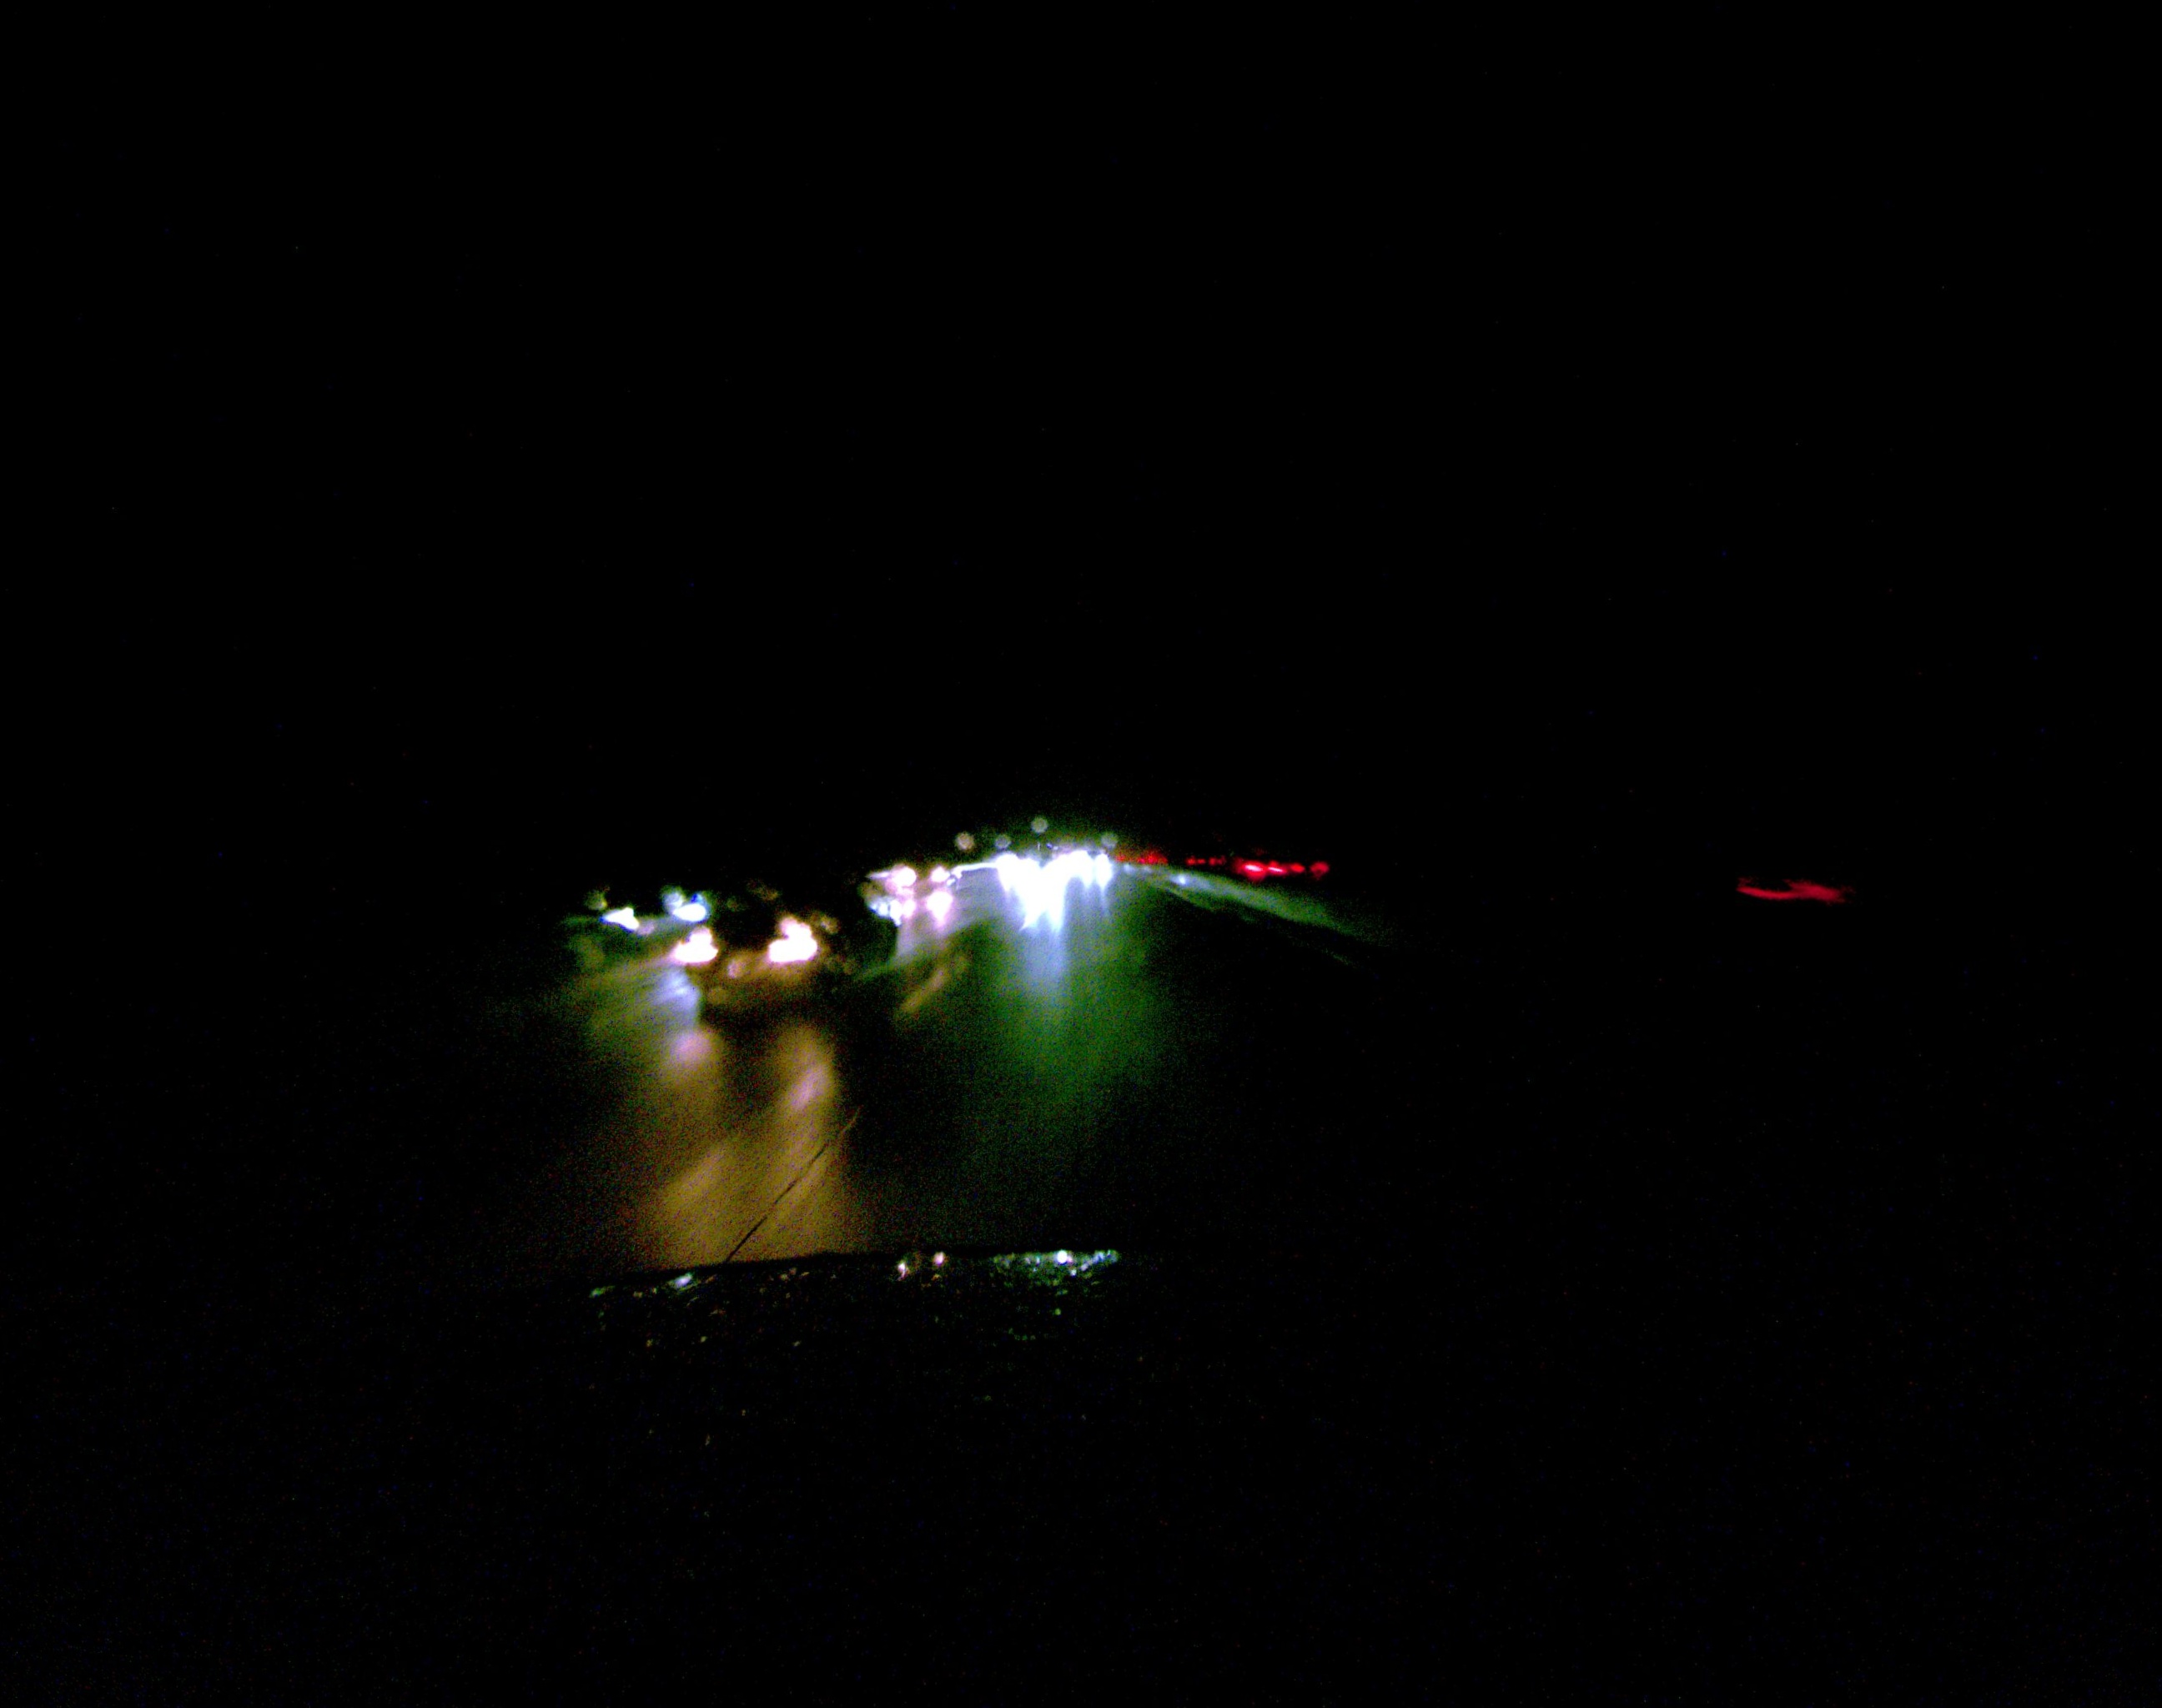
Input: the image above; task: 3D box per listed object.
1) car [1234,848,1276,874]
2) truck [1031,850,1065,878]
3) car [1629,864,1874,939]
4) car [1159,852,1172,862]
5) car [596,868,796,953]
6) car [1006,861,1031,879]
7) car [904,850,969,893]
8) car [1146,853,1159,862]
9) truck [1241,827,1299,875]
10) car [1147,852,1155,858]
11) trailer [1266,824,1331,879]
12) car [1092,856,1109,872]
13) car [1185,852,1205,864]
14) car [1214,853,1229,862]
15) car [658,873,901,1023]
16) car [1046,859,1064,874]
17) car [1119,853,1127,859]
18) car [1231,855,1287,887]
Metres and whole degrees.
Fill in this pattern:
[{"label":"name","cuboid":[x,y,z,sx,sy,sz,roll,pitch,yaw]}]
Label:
[{"label":"car","cuboid":[13.394,0.521,58.779,2.067,1.813,4.880,-2,1,1]},{"label":"truck","cuboid":[-2.092,0.605,49.739,1.848,1.686,4.854,-2,1,1]},{"label":"car","cuboid":[16.973,1.113,19.686,1.998,1.492,4.965,-2,1,1]},{"label":"car","cuboid":[14.964,0.506,134.701,1.866,1.572,4.513,-2,1,1]},{"label":"car","cuboid":[-8.245,1.113,16.925,1.899,1.477,4.961,-2,0,0]},{"label":"car","cuboid":[-5.716,1.480,70.338,1.747,1.470,5.366,-2,0,1]},{"label":"car","cuboid":[-7.061,0.802,37.745,2.051,1.962,5.407,0,0,2]},{"label":"car","cuboid":[10.918,0.590,116.314,1.758,1.354,4.116,0,0,2]},{"label":"truck","cuboid":[18.231,-0.351,74.076,2.938,4.302,11.434,1,1,1]},{"label":"car","cuboid":[18.577,0.304,201.661,1.877,1.607,4.501,0,0,0]},{"label":"trailer","cuboid":[18.080,-0.252,63.849,2.947,4.252,8.935,1,1,1]},{"label":"car","cuboid":[1.997,0.995,77.172,1.619,1.452,3.767,-2,1,2]},{"label":"car","cuboid":[13.782,0.484,92.328,1.759,1.516,4.115,0,0,0]},{"label":"car","cuboid":[26.953,0.633,145.633,1.868,1.462,4.352,-2,1,-3]},{"label":"car","cuboid":[-3.597,1.034,9.849,1.616,1.404,3.791,-2,0,0]},{"label":"car","cuboid":[-2.757,1.332,82.283,1.619,1.494,3.767,-2,1,2]},{"label":"car","cuboid":[11.720,0.588,211.011,1.999,1.607,4.417,0,0,0]},{"label":"car","cuboid":[9.426,0.872,40.634,1.970,1.467,4.446,-2,1,1]}]
